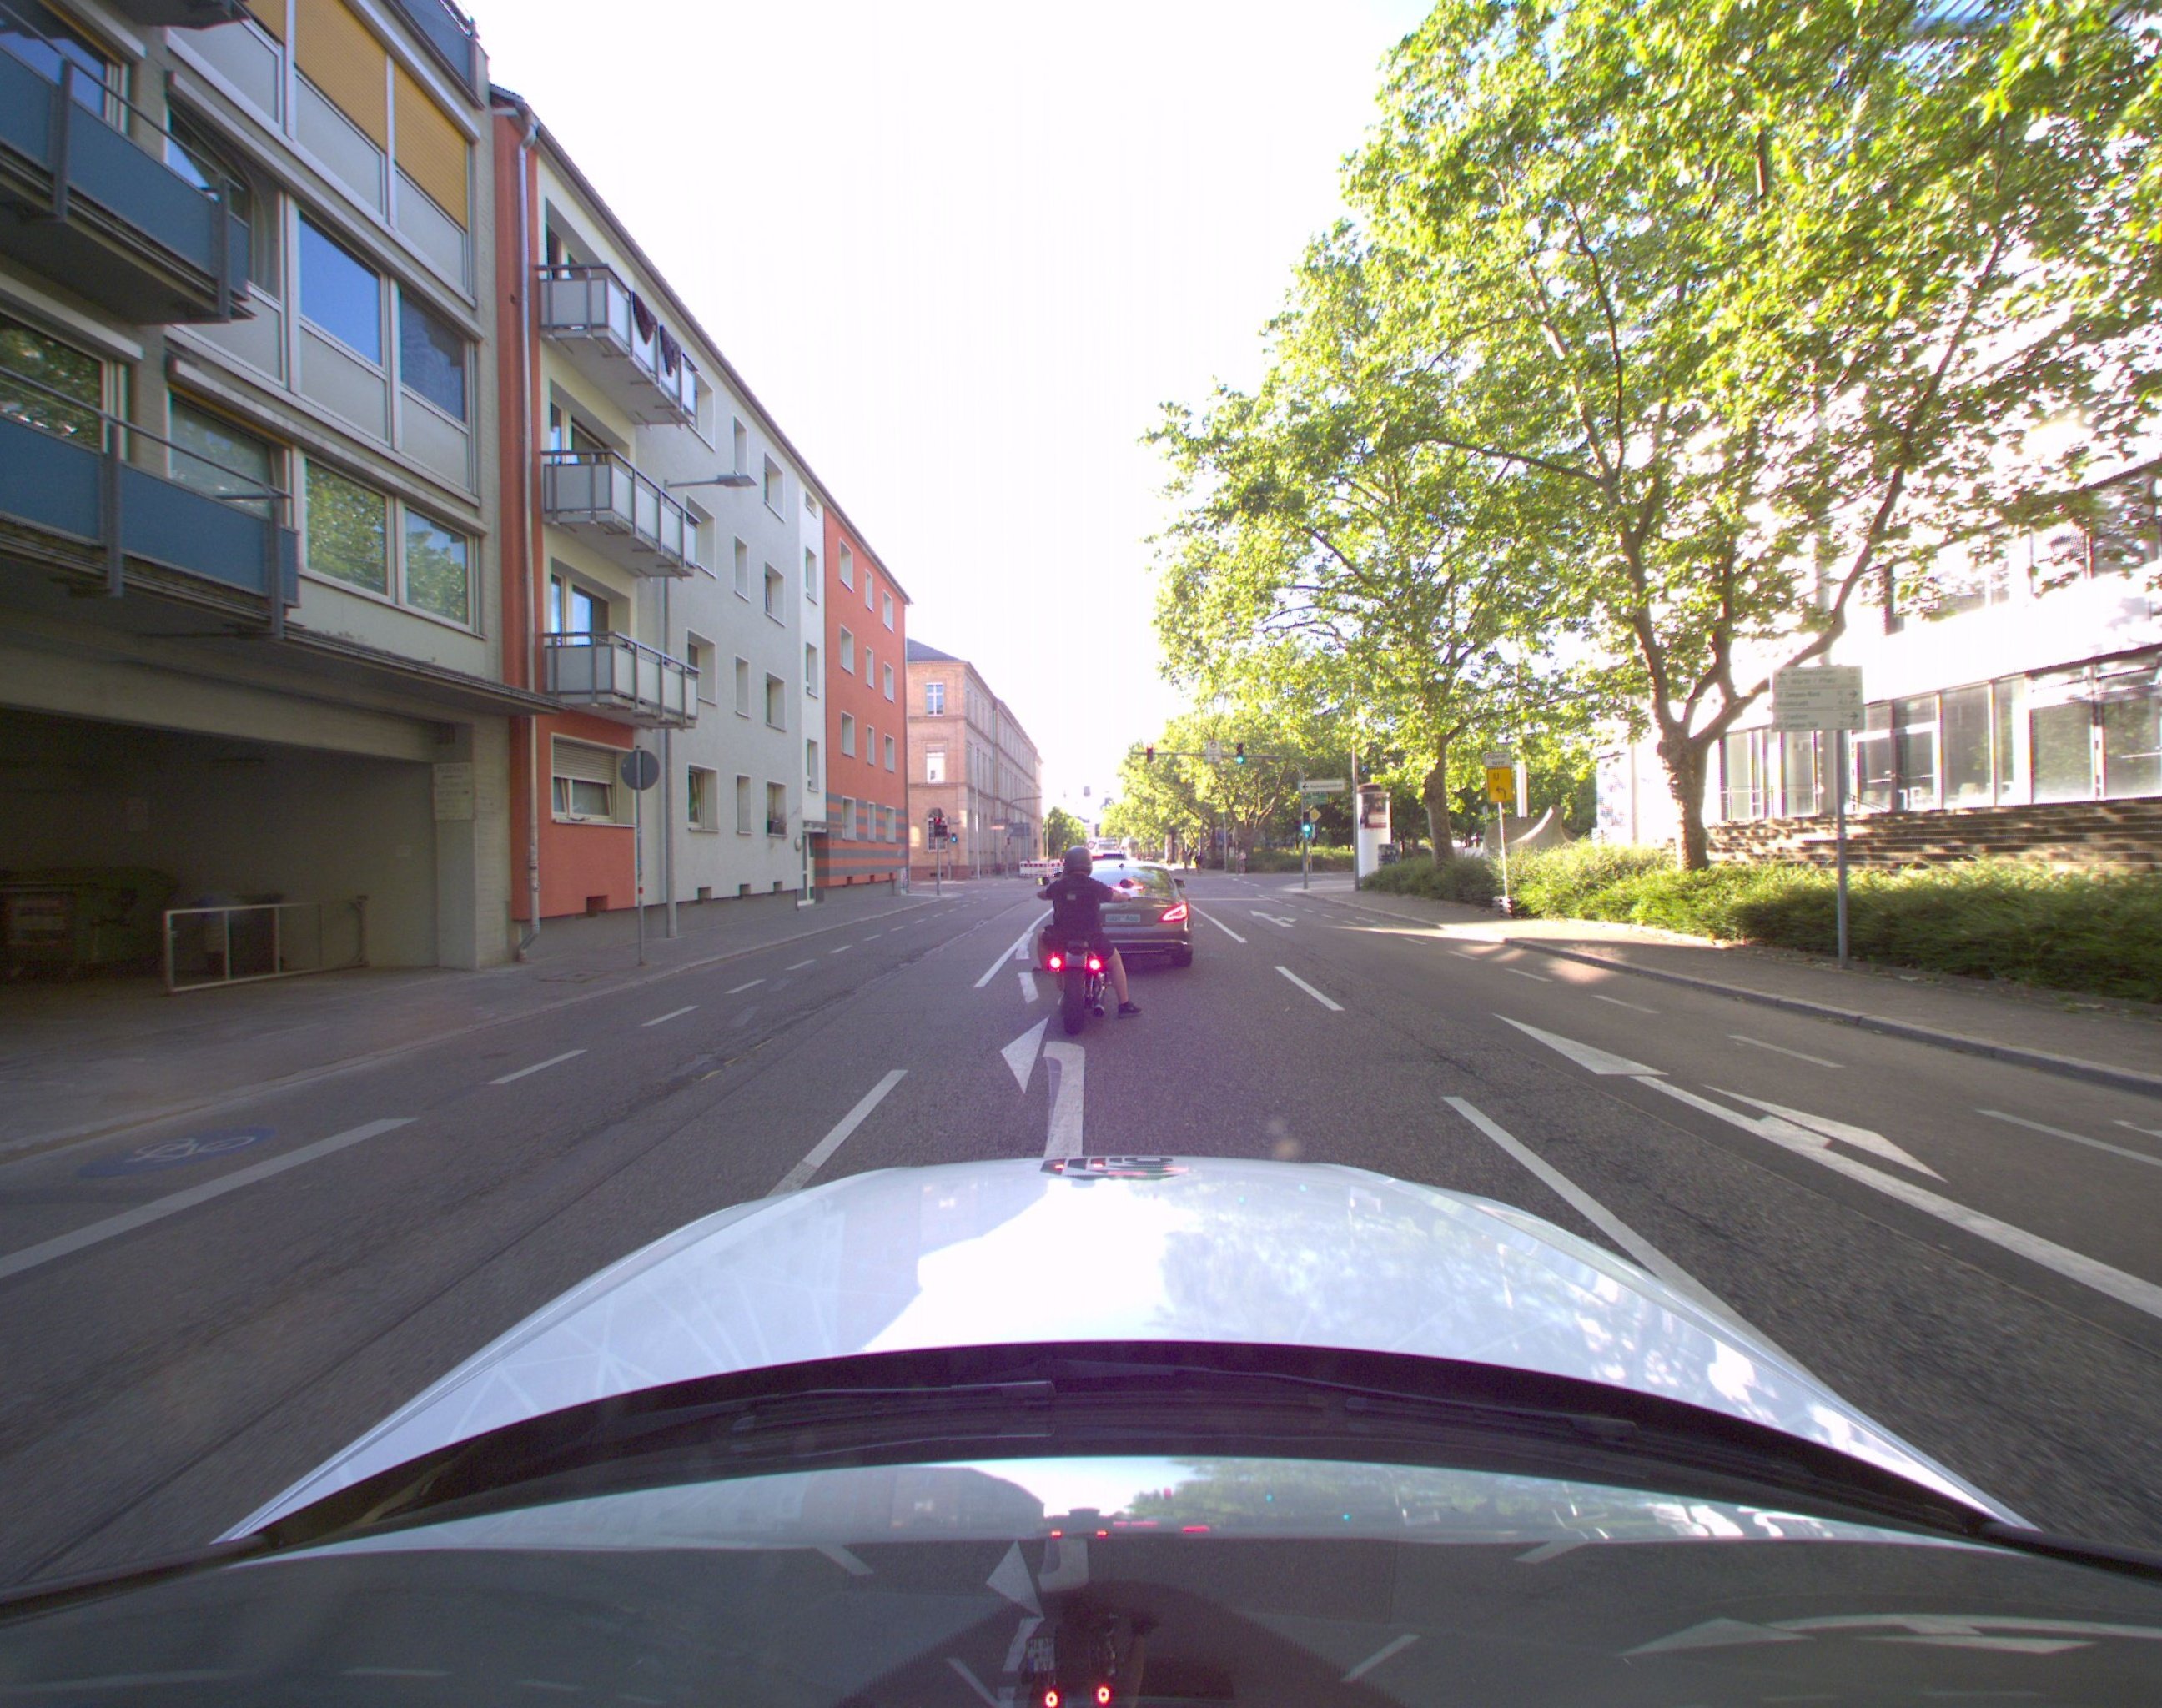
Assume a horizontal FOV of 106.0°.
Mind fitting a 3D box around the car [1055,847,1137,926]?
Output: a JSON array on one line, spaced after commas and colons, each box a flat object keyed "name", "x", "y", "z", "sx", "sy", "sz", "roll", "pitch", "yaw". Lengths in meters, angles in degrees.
[{"name": "car", "x": 0.263, "y": 0.692, "z": 19.083, "sx": 1.626, "sy": 1.650, "sz": 3.845, "roll": 0, "pitch": 0, "yaw": -3}]

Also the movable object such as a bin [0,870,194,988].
[{"name": "movable object such as a bin", "x": -12.842, "y": 0.940, "z": 10.633, "sx": 1.313, "sy": 1.414, "sz": 1.080, "roll": -1, "pitch": 0, "yaw": 1}]

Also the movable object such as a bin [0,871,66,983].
[{"name": "movable object such as a bin", "x": -14.485, "y": 0.958, "z": 10.537, "sx": 1.313, "sy": 1.414, "sz": 1.080, "roll": -1, "pitch": 0, "yaw": 1}]

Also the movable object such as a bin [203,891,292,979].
[{"name": "movable object such as a bin", "x": -11.112, "y": 1.064, "z": 10.870, "sx": 0.487, "sy": 1.088, "sz": 0.654, "roll": -1, "pitch": 0, "yaw": 2}]

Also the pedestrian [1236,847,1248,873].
[{"name": "pedestrian", "x": 10.933, "y": 0.414, "z": 55.288, "sx": 0.574, "sy": 1.774, "sz": 0.619, "roll": 1, "pitch": -1, "yaw": -32}]

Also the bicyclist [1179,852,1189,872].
[{"name": "bicyclist", "x": 8.201, "y": 0.648, "z": 64.836, "sx": 0.653, "sy": 1.530, "sz": 0.906, "roll": 0, "pitch": -1, "yaw": 2}]

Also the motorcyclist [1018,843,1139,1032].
[{"name": "motorcyclist", "x": 0.000, "y": 0.717, "z": 7.692, "sx": 1.008, "sy": 1.602, "sz": 1.406, "roll": -1, "pitch": 0, "yaw": 1}]

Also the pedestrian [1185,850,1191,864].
[{"name": "pedestrian", "x": 11.621, "y": 0.318, "z": 88.790, "sx": 0.590, "sy": 1.578, "sz": 0.527, "roll": 0, "pitch": -1, "yaw": 2}]

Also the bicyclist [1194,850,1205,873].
[{"name": "bicyclist", "x": 8.033, "y": 0.509, "z": 55.429, "sx": 0.653, "sy": 1.530, "sz": 0.852, "roll": 0, "pitch": -1, "yaw": 1}]

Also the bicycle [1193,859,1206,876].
[{"name": "bicycle", "x": 8.033, "y": 0.911, "z": 55.354, "sx": 0.653, "sy": 1.070, "sz": 1.928, "roll": 0, "pitch": 0, "yaw": 2}]

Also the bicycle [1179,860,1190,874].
[{"name": "bicycle", "x": 8.205, "y": 1.042, "z": 64.809, "sx": 0.653, "sy": 1.111, "sz": 2.186, "roll": 0, "pitch": 0, "yaw": 2}]

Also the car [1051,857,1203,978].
[{"name": "car", "x": 0.617, "y": 0.772, "z": 11.770, "sx": 1.821, "sy": 1.420, "sz": 3.816, "roll": -1, "pitch": 0, "yaw": 2}]

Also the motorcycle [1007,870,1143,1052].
[{"name": "motorcycle", "x": -0.003, "y": 0.845, "z": 7.546, "sx": 1.008, "sy": 1.306, "sz": 2.674, "roll": -1, "pitch": 0, "yaw": 2}]
